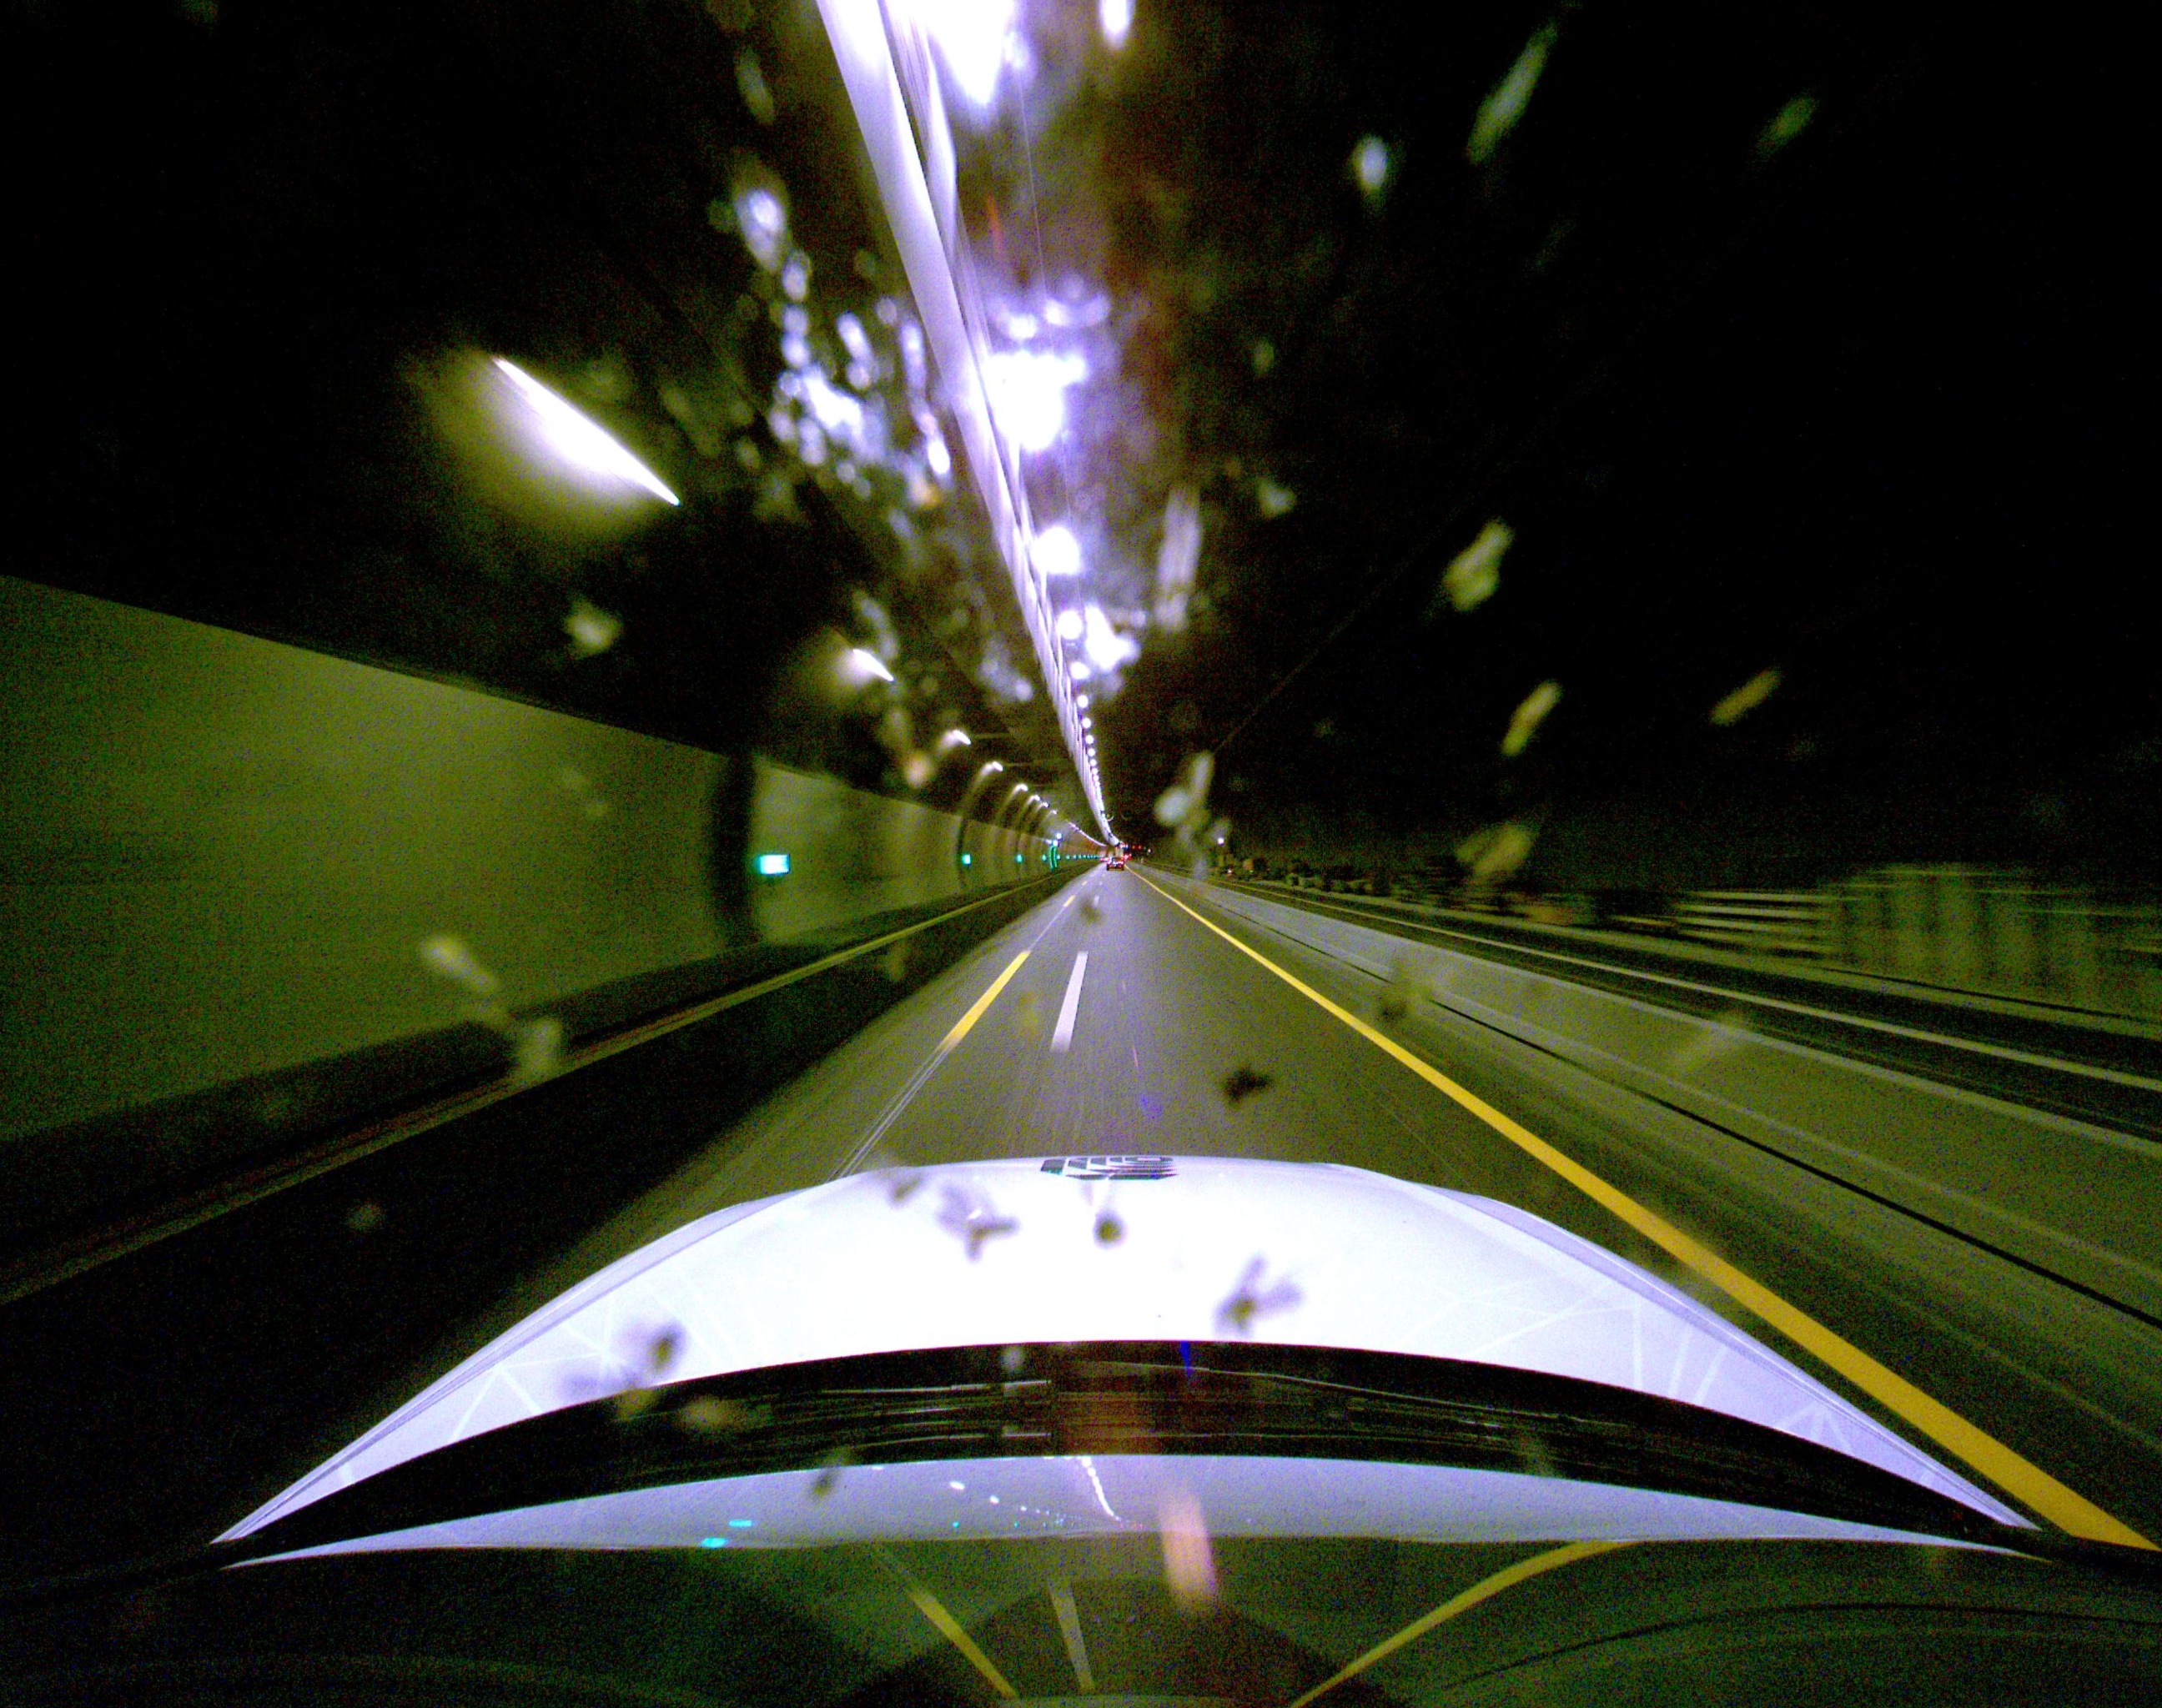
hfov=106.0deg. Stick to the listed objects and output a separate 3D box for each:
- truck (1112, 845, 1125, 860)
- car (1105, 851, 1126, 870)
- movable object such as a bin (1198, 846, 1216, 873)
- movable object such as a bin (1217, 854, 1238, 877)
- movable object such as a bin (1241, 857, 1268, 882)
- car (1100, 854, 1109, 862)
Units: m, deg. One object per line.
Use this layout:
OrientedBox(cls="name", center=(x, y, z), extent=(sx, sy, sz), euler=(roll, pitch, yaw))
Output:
OrientedBox(cls="truck", center=(12.139, -0.539, 263.923), extent=(4.050, 4.532, 14.972), euler=(-3, 0, 2))
OrientedBox(cls="car", center=(3.658, 0.686, 86.710), extent=(1.941, 1.794, 3.998), euler=(-3, 0, -1))
OrientedBox(cls="movable object such as a bin", center=(10.525, 0.446, 68.078), extent=(1.230, 2.141, 2.217), euler=(-1, 0, 2))
OrientedBox(cls="movable object such as a bin", center=(11.019, 0.869, 61.494), extent=(1.230, 1.718, 2.217), euler=(-1, 0, 2))
OrientedBox(cls="movable object such as a bin", center=(10.681, 0.926, 50.113), extent=(1.230, 1.442, 2.217), euler=(-1, 0, 2))
OrientedBox(cls="car", center=(5.696, 1.005, 197.456), extent=(1.922, 1.687, 4.003), euler=(-3, 0, 3))
